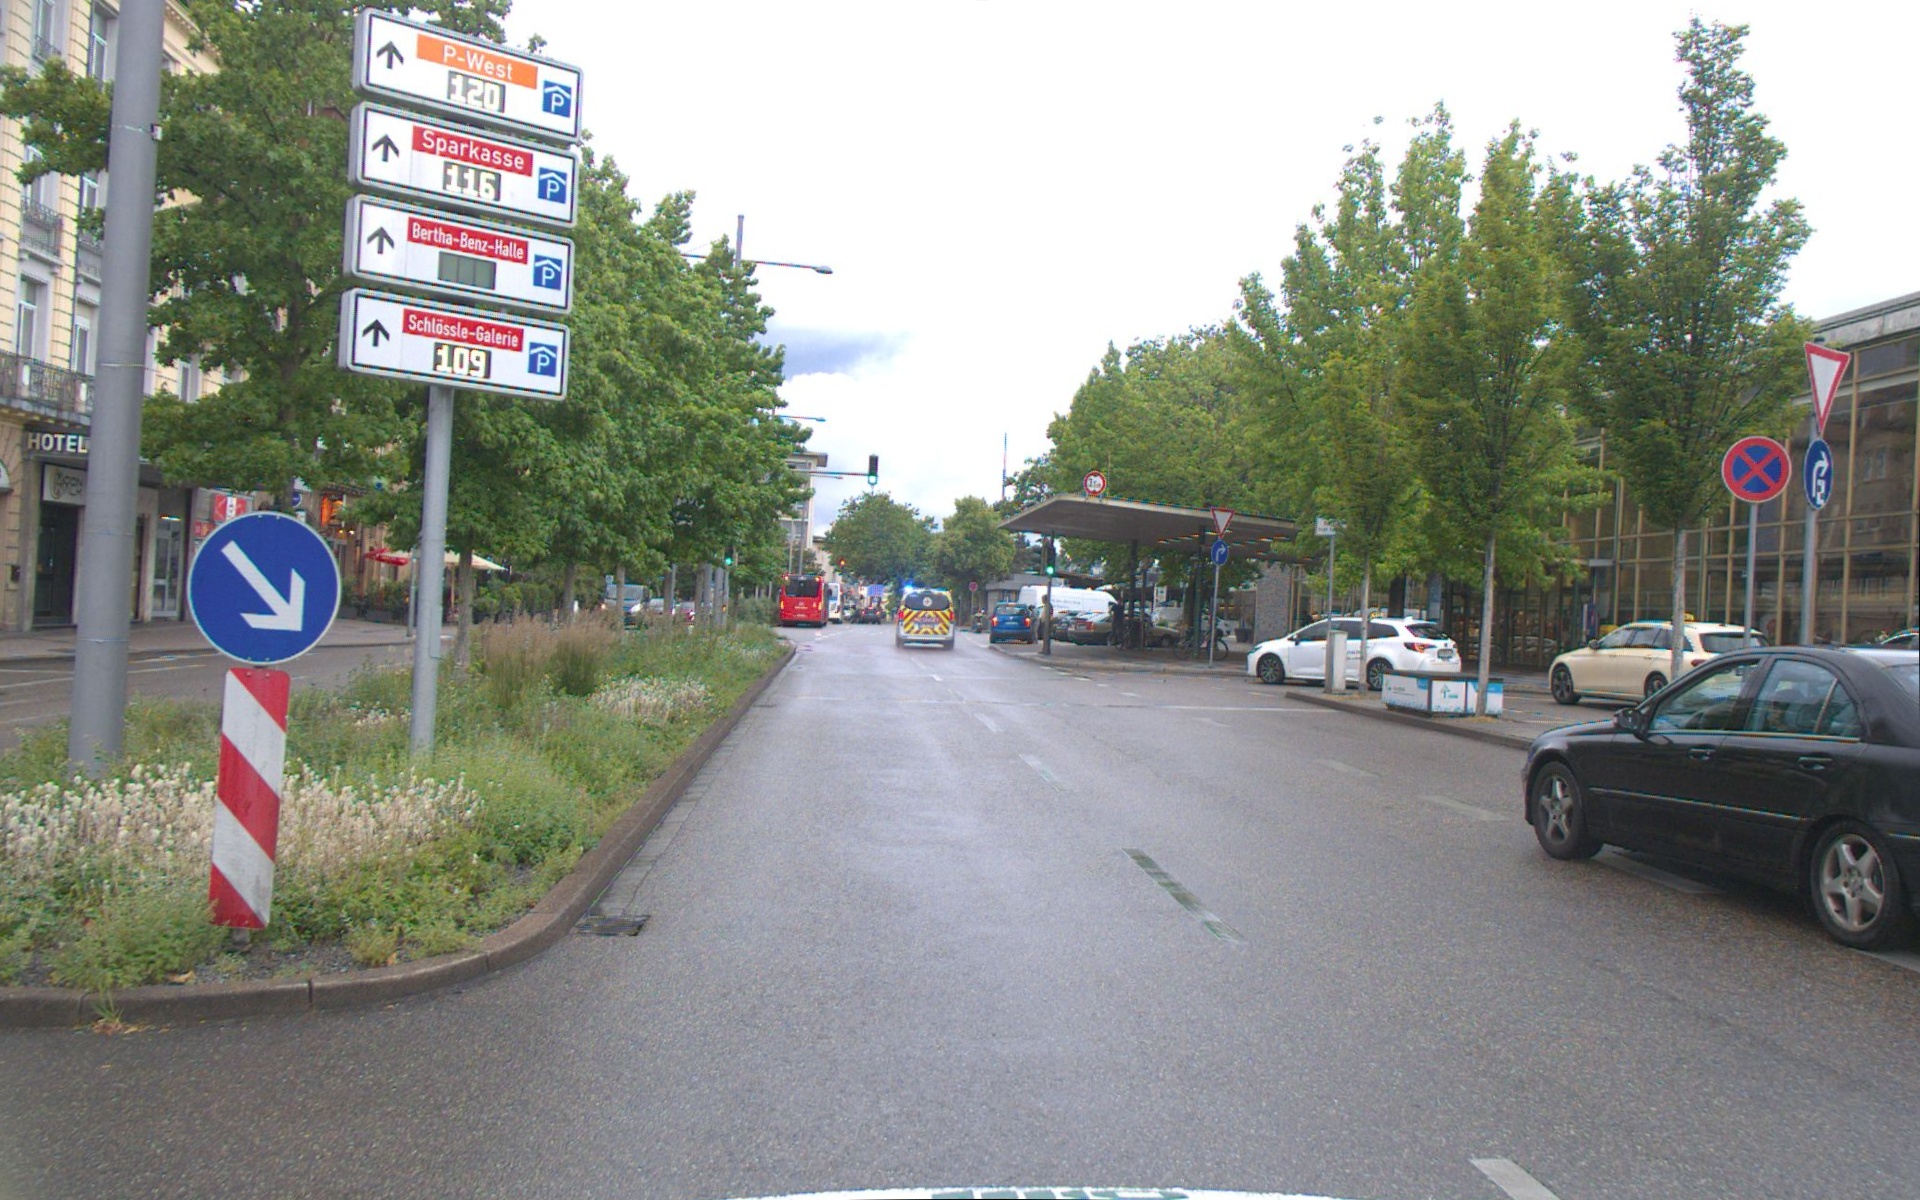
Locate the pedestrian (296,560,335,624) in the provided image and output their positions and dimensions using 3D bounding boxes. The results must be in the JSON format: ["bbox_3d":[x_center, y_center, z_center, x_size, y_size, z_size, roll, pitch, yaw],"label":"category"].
[{"bbox_3d":[-18.889,-0.229,48.500,0.862,1.844,0.750,-1,-1,-4],"label":"pedestrian"}]

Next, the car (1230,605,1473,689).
[{"bbox_3d":[7.972,0.920,34.034,1.749,1.573,4.702,2,-1,-43],"label":"car"}]

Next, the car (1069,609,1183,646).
[{"bbox_3d":[6.522,1.074,65.012,4.129,1.348,1.827,2,-1,-24],"label":"car"}]

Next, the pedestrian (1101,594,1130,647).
[{"bbox_3d":[5.502,0.734,58.634,0.839,1.867,1.189,1,-1,-4],"label":"pedestrian"}]

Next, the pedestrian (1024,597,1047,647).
[{"bbox_3d":[3.119,0.914,68.202,0.815,2.049,0.888,0,-1,-8],"label":"pedestrian"}]

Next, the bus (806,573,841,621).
[{"bbox_3d":[-11.232,-0.199,135.629,2.751,3.812,10.433,0,0,-5],"label":"bus"}]

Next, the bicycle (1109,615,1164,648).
[{"bbox_3d":[5.786,1.035,54.155,1.802,1.074,0.417,0,-1,-22],"label":"bicycle"}]

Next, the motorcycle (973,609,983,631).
[{"bbox_3d":[1.121,1.218,102.046,0.583,1.311,1.954,1,0,2],"label":"motorcycle"}]

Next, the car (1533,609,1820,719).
[{"bbox_3d":[11.798,0.984,27.687,1.958,1.627,4.944,0,0,-11],"label":"car"}]

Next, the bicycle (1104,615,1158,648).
[{"bbox_3d":[5.649,1.031,54.594,1.802,1.074,0.417,0,-1,-22],"label":"bicycle"}]

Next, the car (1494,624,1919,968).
[{"bbox_3d":[4.795,0.901,9.104,1.664,1.491,4.441,0,0,-10],"label":"car"}]

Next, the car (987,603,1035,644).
[{"bbox_3d":[2.057,0.968,67.824,1.820,1.596,4.000,1,-1,0],"label":"car"}]

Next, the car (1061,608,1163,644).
[{"bbox_3d":[6.312,1.098,68.669,3.952,1.383,1.842,2,-1,-35],"label":"car"}]

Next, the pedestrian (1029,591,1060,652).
[{"bbox_3d":[2.533,0.644,49.588,0.733,1.777,0.833,1,-1,-12],"label":"pedestrian"}]

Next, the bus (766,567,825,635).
[{"bbox_3d":[-10.394,0.112,104.954,3.476,4.049,11.158,0,0,-5],"label":"bus"}]

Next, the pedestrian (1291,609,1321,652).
[{"bbox_3d":[12.736,1.126,60.868,0.849,1.586,0.812,0,-1,-11],"label":"pedestrian"}]

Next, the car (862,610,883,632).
[{"bbox_3d":[-8.231,1.986,154.985,1.954,2.049,3.997,0,0,-3],"label":"car"}]

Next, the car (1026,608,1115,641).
[{"bbox_3d":[5.318,1.172,79.363,3.945,1.468,1.846,2,-1,-31],"label":"car"}]

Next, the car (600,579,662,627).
[{"bbox_3d":[-14.768,0.147,74.479,1.953,2.049,4.999,0,-1,-2],"label":"car"}]

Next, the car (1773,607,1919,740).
[{"bbox_3d":[12.772,0.949,21.163,1.955,1.627,4.953,2,0,-5],"label":"car"}]

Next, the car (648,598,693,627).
[{"bbox_3d":[-16.123,0.701,92.193,1.954,1.570,4.629,0,0,-3],"label":"car"}]

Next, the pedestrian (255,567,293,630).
[{"bbox_3d":[-18.419,-0.035,44.414,0.667,1.693,0.807,0,-1,-1],"label":"pedestrian"}]

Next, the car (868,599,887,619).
[{"bbox_3d":[-8.508,0.946,170.401,1.954,2.049,3.997,0,0,-3],"label":"car"}]

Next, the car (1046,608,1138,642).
[{"bbox_3d":[6.176,1.162,77.221,3.945,1.468,1.846,2,-1,-31],"label":"car"}]

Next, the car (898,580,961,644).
[{"bbox_3d":[-1.070,0.397,55.294,1.954,2.049,5.058,0,0,-3],"label":"car"}]

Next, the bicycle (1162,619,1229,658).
[{"bbox_3d":[6.504,1.065,45.722,1.791,1.074,0.420,0,-1,-4],"label":"bicycle"}]

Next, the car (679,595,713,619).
[{"bbox_3d":[-16.536,0.433,103.873,1.712,1.455,3.950,0,0,-3],"label":"car"}]

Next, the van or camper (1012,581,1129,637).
[{"bbox_3d":[5.712,0.484,85.460,5.886,2.811,2.176,1,-1,-31],"label":"van or camper"}]

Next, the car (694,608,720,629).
[{"bbox_3d":[-19.029,1.354,124.404,1.566,1.558,3.650,0,0,-3],"label":"car"}]

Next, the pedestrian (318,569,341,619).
[{"bbox_3d":[-21.228,-0.198,55.693,0.655,1.693,0.535,0,-1,-12],"label":"pedestrian"}]

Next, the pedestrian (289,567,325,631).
[{"bbox_3d":[-17.556,-0.023,44.488,0.668,1.693,0.806,0,-1,-4],"label":"pedestrian"}]
